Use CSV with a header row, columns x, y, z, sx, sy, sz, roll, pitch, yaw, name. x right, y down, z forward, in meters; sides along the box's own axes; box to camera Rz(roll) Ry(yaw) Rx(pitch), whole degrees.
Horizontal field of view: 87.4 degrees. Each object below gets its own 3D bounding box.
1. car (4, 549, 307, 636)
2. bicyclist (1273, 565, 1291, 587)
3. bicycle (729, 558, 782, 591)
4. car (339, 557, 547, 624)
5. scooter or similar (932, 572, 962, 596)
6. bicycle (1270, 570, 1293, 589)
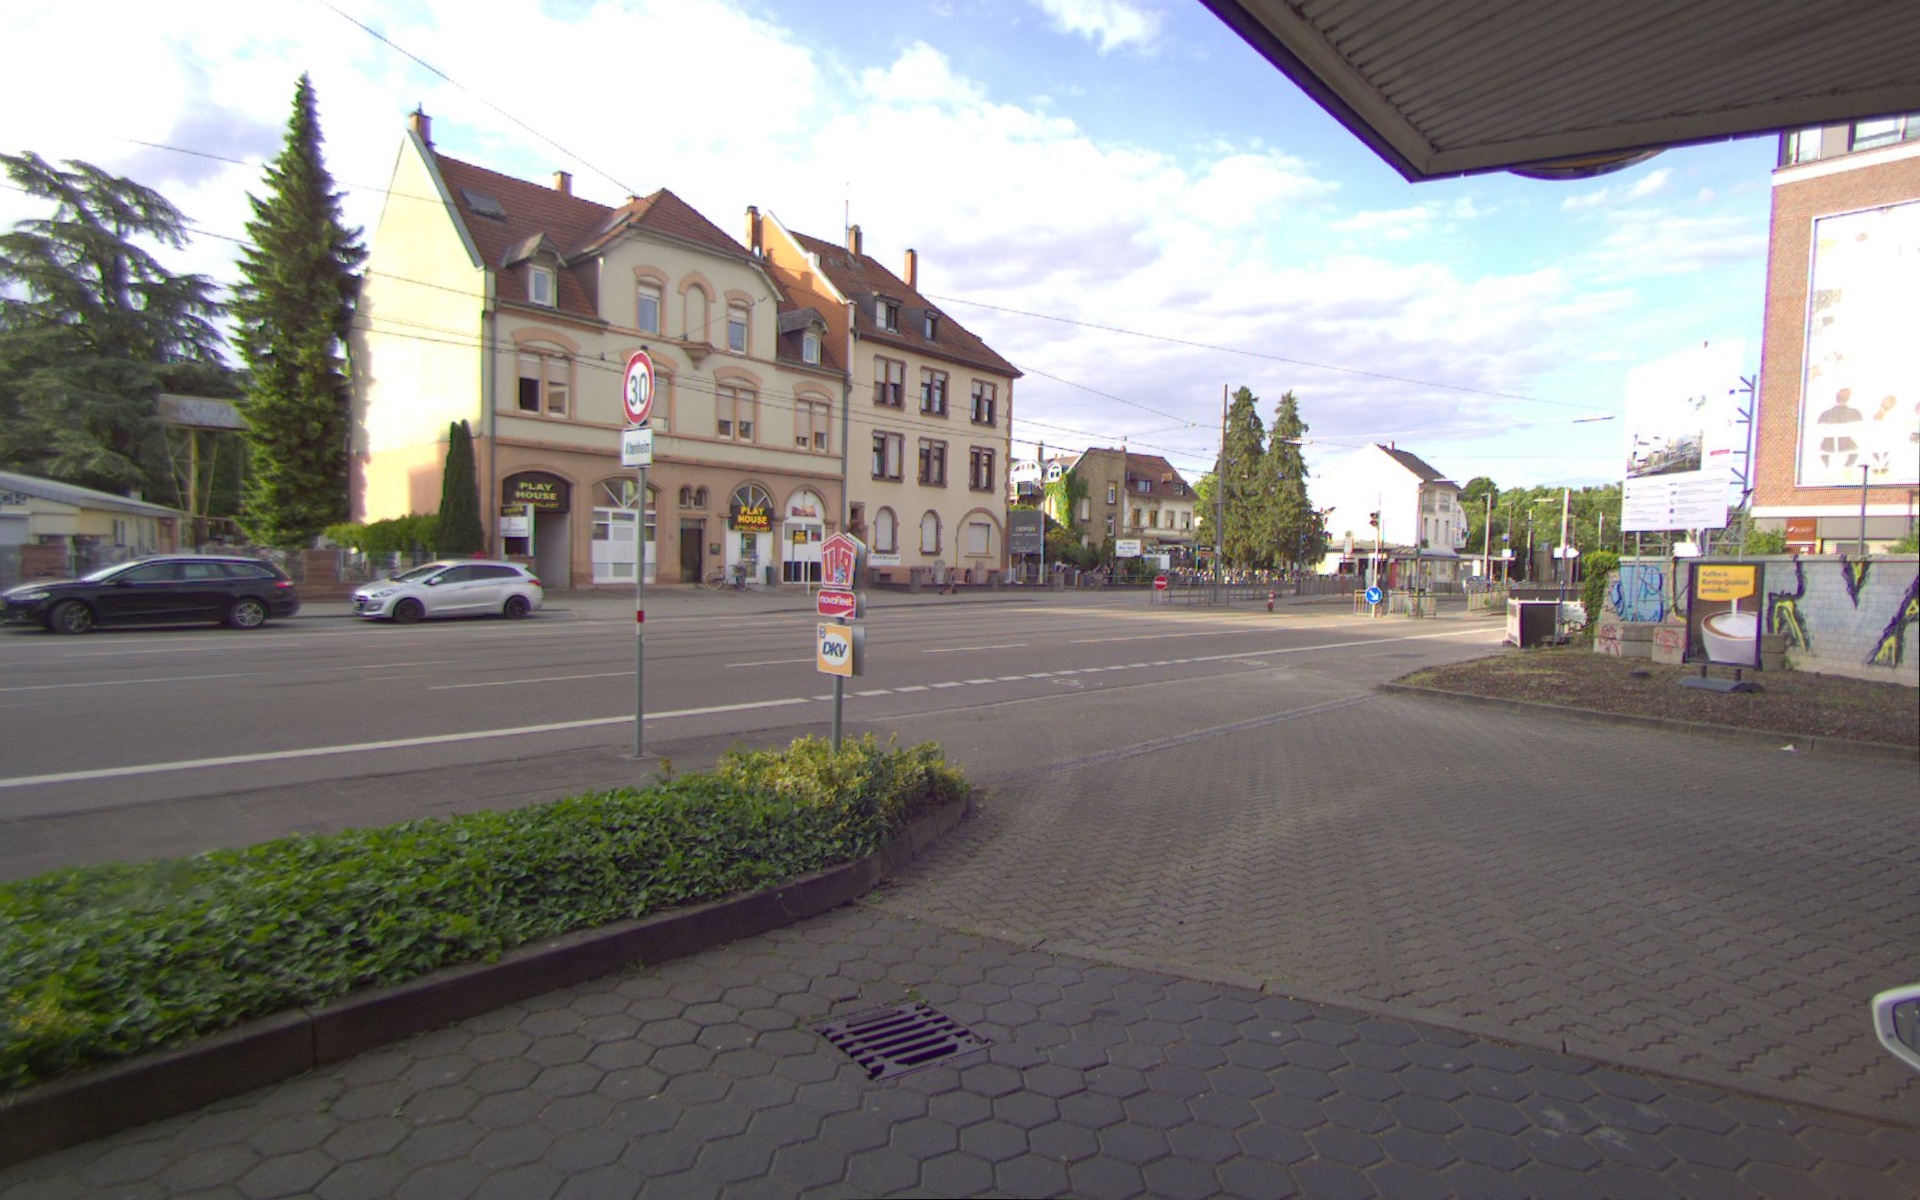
x,y,z,sx,sy,sz,roll,pitch,yaw,name
-16.499,-0.179,20.820,1.827,1.542,4.642,5,4,40,car
22.099,-1.645,68.975,0.742,1.428,0.916,8,7,43,bicyclist
-8.259,-1.009,40.629,0.741,1.219,2.011,8,5,41,bicycle
-12.941,-0.256,25.358,1.718,1.502,4.357,3,2,41,car
-0.578,-0.722,45.095,0.437,1.006,1.460,6,5,41,scooter or similar
22.067,-1.378,68.959,0.741,1.219,1.810,8,6,43,bicycle
